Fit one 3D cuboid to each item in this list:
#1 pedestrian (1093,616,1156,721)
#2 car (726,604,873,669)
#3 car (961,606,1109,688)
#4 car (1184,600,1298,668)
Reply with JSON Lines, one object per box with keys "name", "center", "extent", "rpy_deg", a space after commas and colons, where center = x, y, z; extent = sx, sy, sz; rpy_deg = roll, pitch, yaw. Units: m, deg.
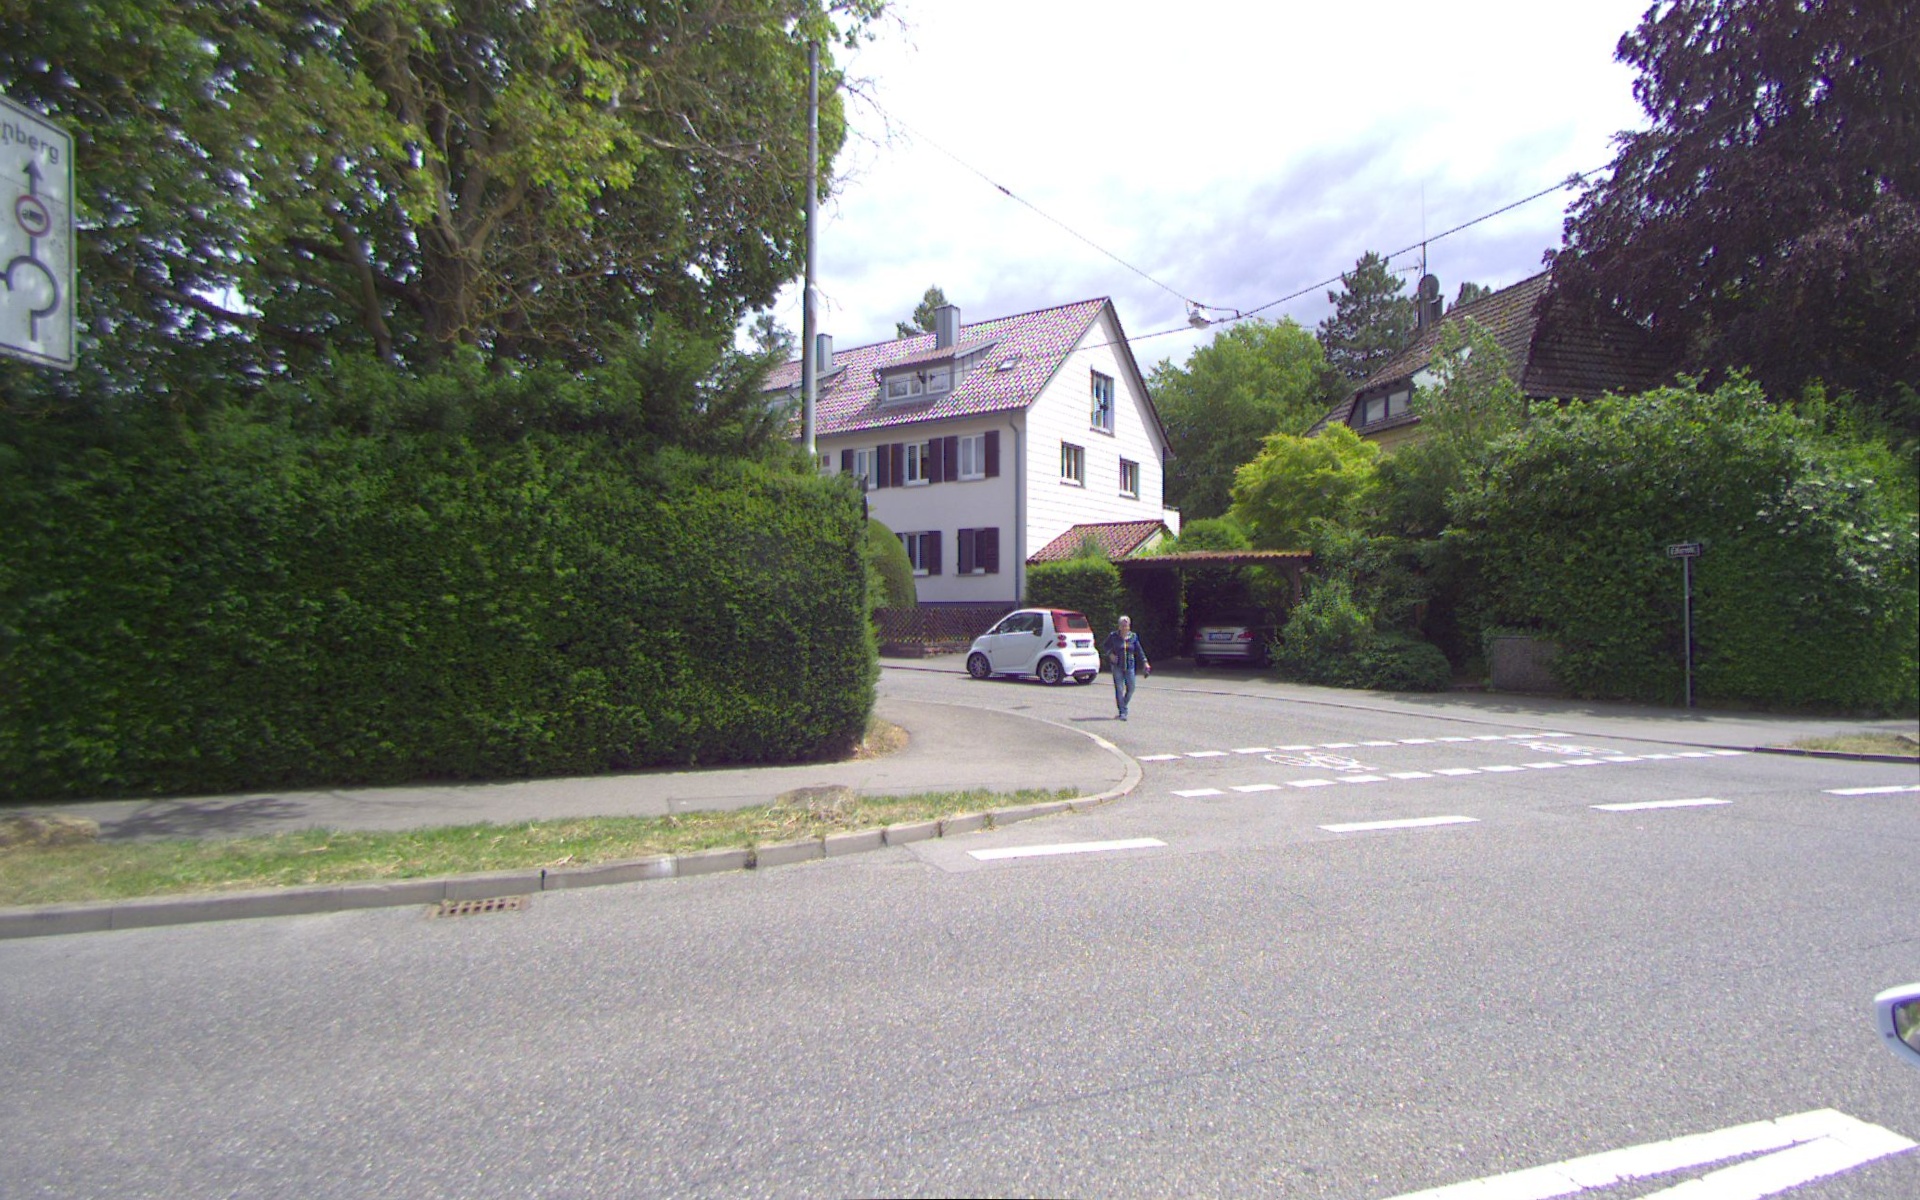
{"name": "pedestrian", "center": [2.484, 1.010, 15.131], "extent": [0.719, 1.528, 0.625], "rpy_deg": [1, -1, 37]}
{"name": "car", "center": [-4.104, 0.889, 25.487], "extent": [3.477, 1.474, 1.710], "rpy_deg": [1, 0, 36]}
{"name": "car", "center": [1.586, 0.959, 21.553], "extent": [2.734, 1.576, 1.584], "rpy_deg": [1, 0, 37]}
{"name": "car", "center": [7.073, 0.780, 25.017], "extent": [1.698, 1.530, 3.991], "rpy_deg": [1, 0, 31]}
